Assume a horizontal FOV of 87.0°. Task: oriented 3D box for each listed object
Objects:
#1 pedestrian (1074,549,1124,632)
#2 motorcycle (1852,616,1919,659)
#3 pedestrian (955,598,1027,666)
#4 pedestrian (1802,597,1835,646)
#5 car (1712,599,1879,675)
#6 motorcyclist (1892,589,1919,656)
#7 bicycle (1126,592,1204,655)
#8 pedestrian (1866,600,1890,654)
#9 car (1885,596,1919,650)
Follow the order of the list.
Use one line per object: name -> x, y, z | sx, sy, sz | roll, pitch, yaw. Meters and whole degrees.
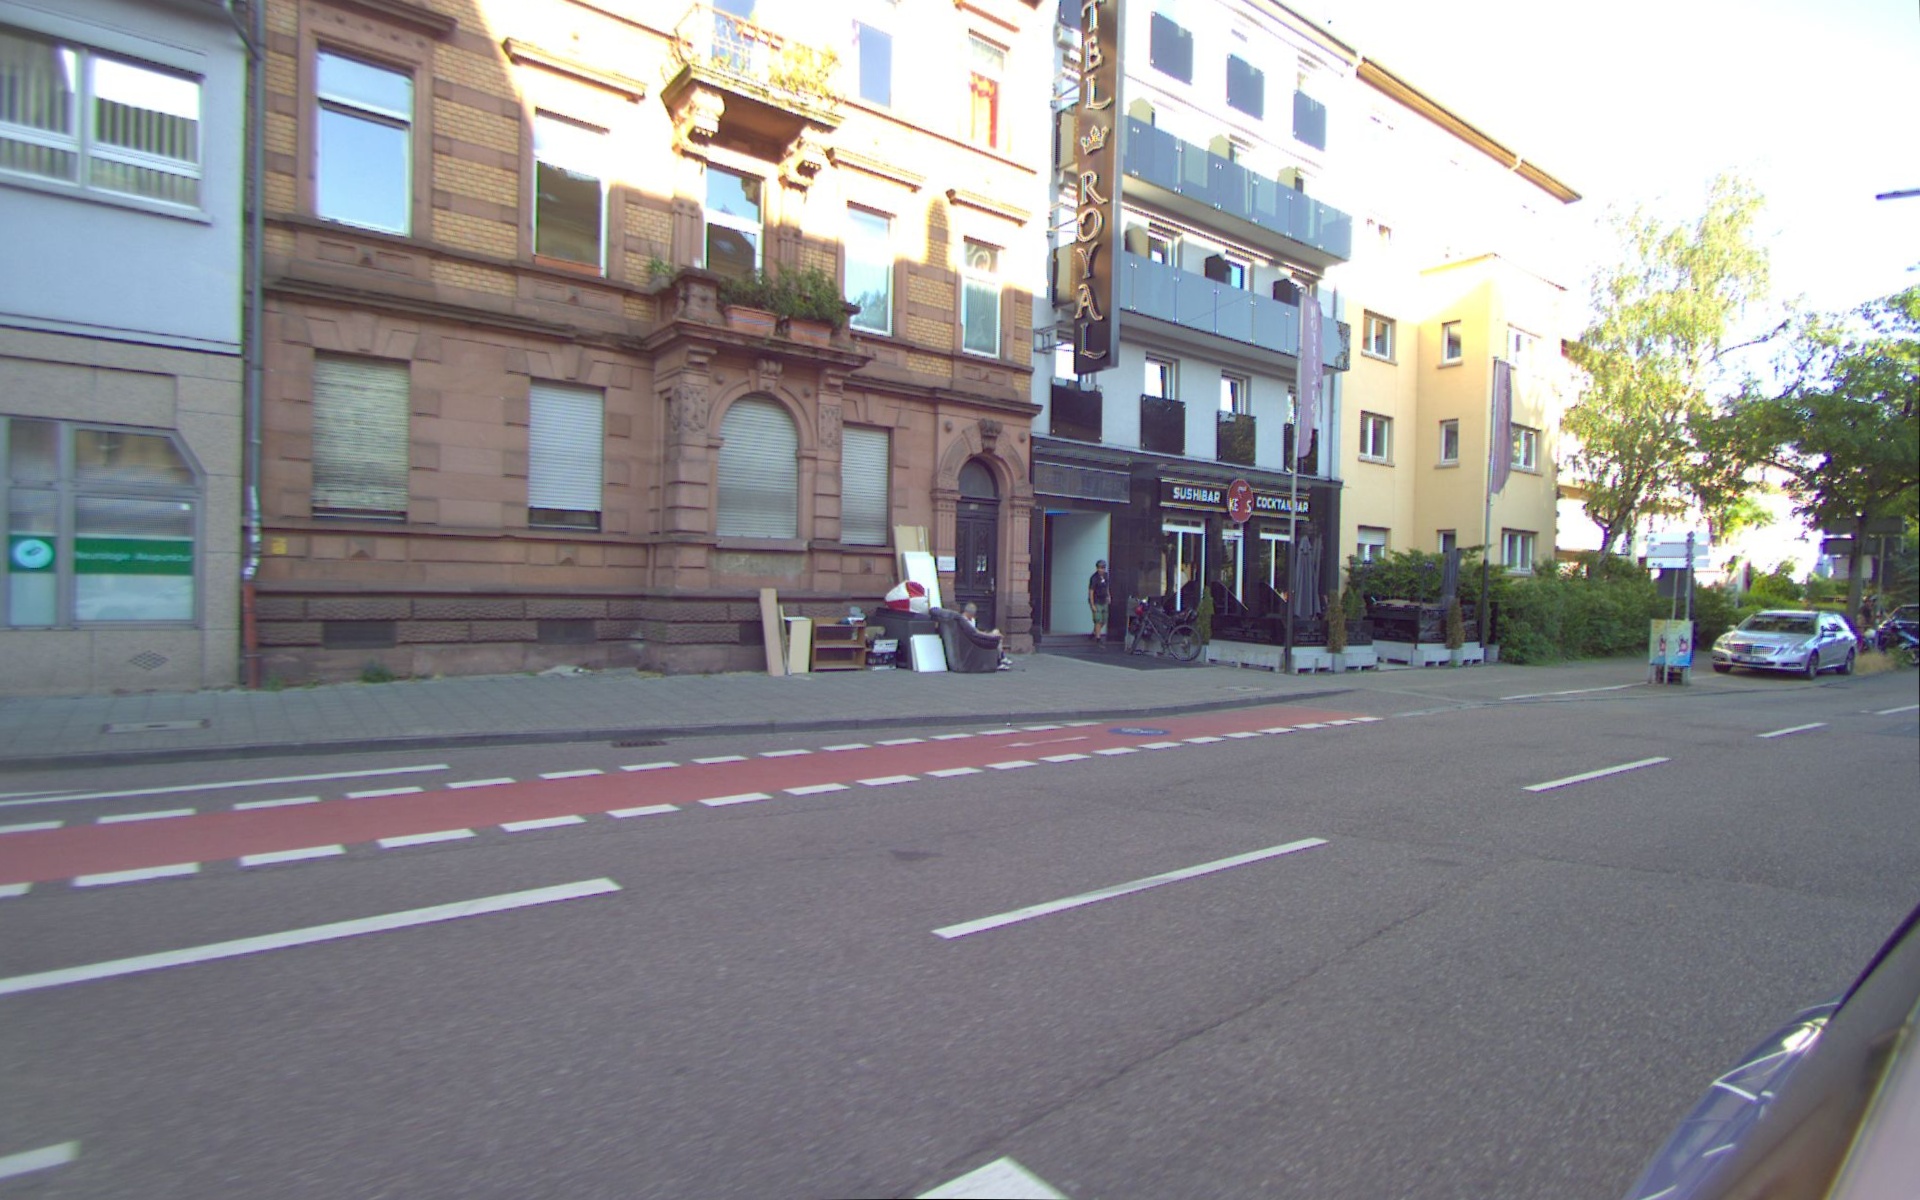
pedestrian -> 2.831, -0.196, 20.630 | 0.680, 1.664, 0.709 | 1, 1, -38
motorcycle -> 25.871, 1.028, 27.871 | 1.924, 1.084, 0.808 | 2, 1, 41
pedestrian -> 0.511, 0.515, 16.700 | 0.926, 1.056, 0.693 | 1, 1, -34
pedestrian -> 29.639, 0.729, 34.946 | 0.569, 1.636, 0.748 | 1, 1, -39
car -> 19.677, 0.811, 23.776 | 4.743, 1.531, 1.862 | 1, 2, -36
motorcyclist -> 26.025, 0.611, 27.672 | 0.735, 1.800, 1.072 | 1, 1, 41
bicycle -> 4.097, 0.456, 20.273 | 1.417, 1.124, 0.482 | 5, 3, 36
pedestrian -> 25.415, 0.740, 28.015 | 0.438, 1.448, 0.694 | 1, 0, 41
car -> 32.229, 0.758, 33.262 | 4.709, 1.675, 1.953 | 1, 1, -39
